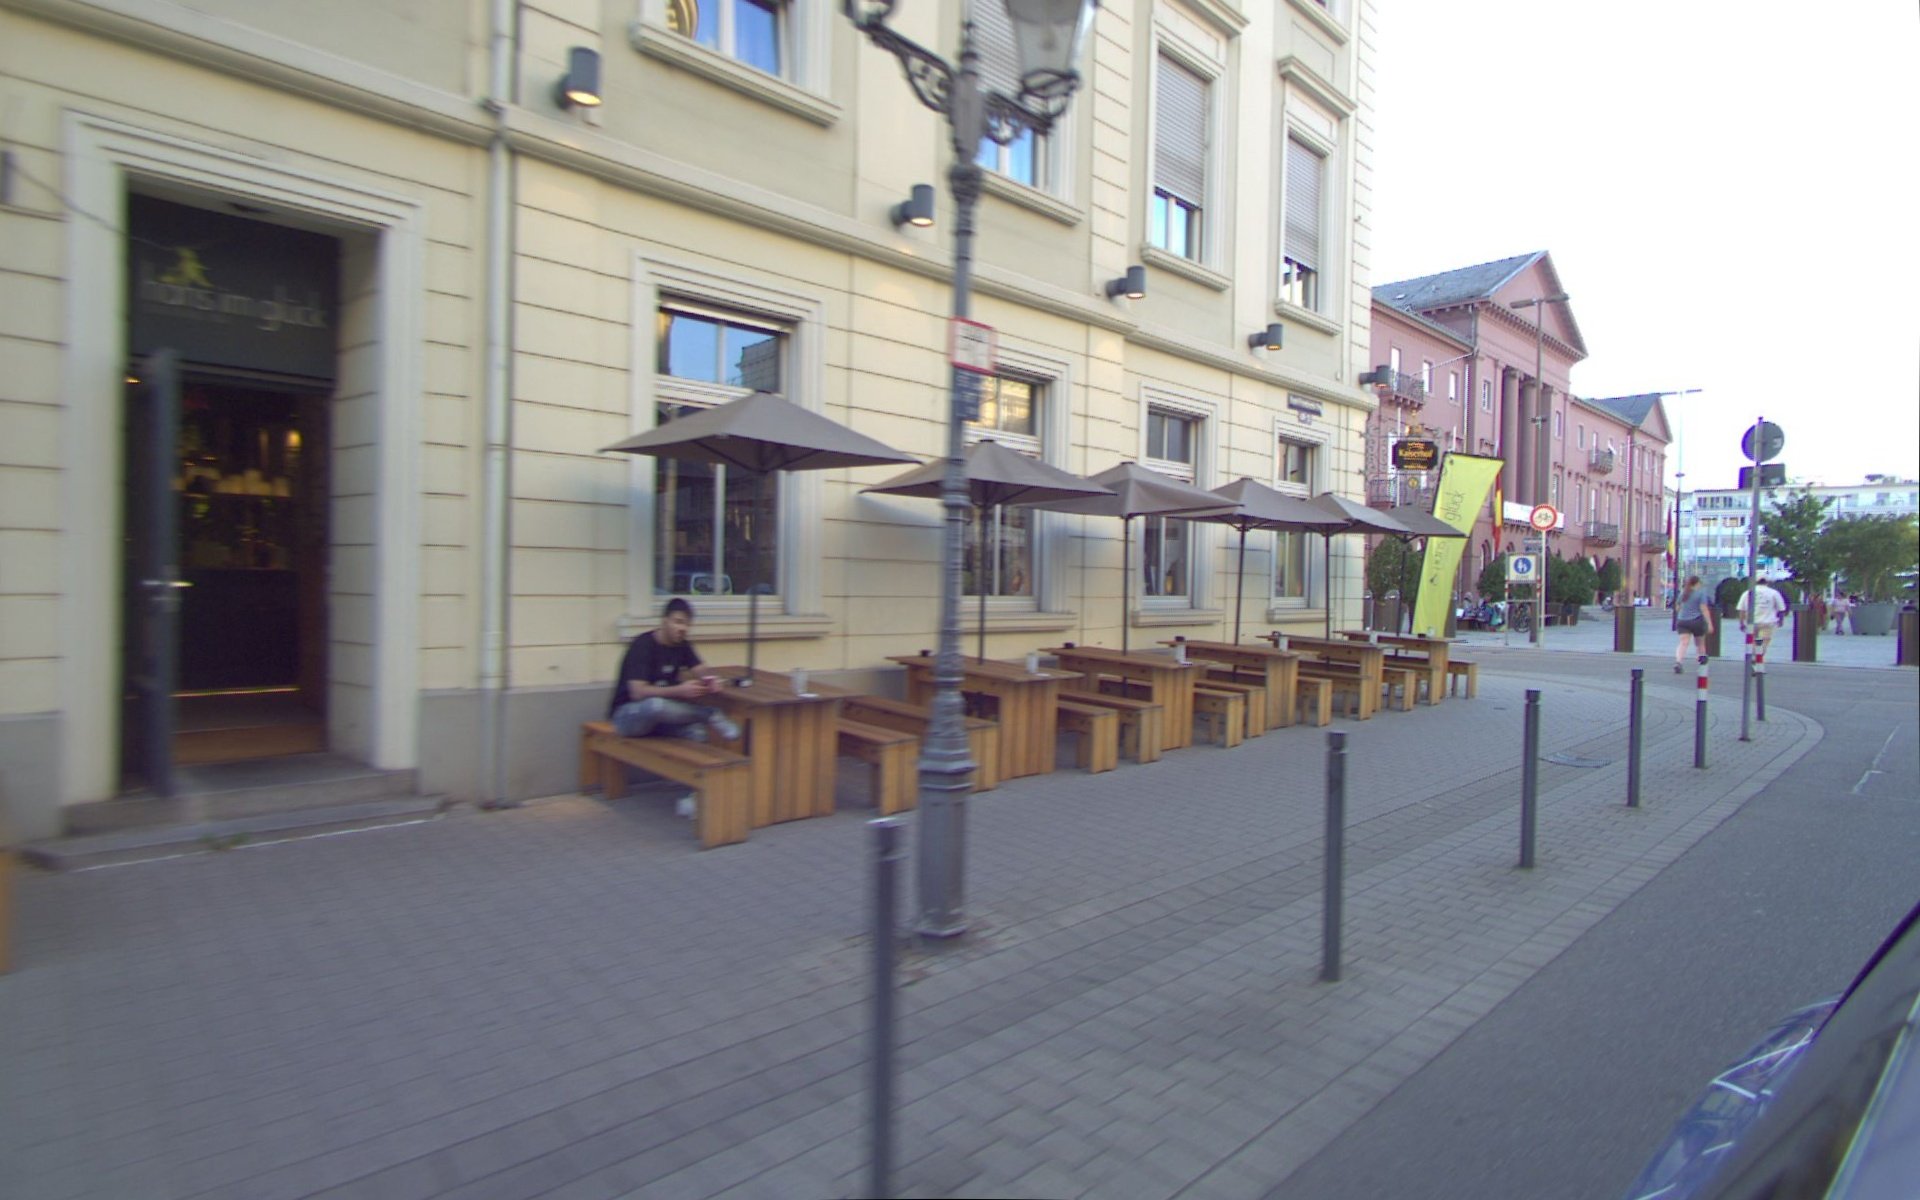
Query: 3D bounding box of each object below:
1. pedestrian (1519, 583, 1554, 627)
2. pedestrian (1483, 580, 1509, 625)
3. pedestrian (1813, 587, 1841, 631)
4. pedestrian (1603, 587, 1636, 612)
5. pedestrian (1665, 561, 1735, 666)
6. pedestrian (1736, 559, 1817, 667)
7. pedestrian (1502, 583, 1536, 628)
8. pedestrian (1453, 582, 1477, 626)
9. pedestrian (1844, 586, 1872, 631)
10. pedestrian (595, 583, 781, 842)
[{"bbox_3d":[19.653,0.148,34.506,0.572,1.465,0.832,1,1,-13],"label":"pedestrian"},{"bbox_3d":[18.043,0.082,34.074,0.576,1.465,0.826,1,1,18],"label":"pedestrian"},{"bbox_3d":[31.441,0.316,36.694,0.682,1.586,0.642,2,1,45],"label":"pedestrian"},{"bbox_3d":[34.219,-0.038,52.553,1.395,1.277,1.311,2,2,34],"label":"pedestrian"},{"bbox_3d":[12.725,0.220,17.413,0.704,1.751,0.609,1,1,0],"label":"pedestrian"},{"bbox_3d":[13.624,0.207,16.900,0.751,1.751,0.669,1,1,0],"label":"pedestrian"},{"bbox_3d":[18.893,0.180,34.207,0.572,1.465,0.832,1,1,-11],"label":"pedestrian"},{"bbox_3d":[17.072,0.119,34.242,0.576,1.465,0.826,1,1,18],"label":"pedestrian"},{"bbox_3d":[32.033,0.289,36.091,0.682,1.578,0.642,2,1,45],"label":"pedestrian"},{"bbox_3d":[-1.587,0.595,5.934,0.770,1.376,0.716,2,1,30],"label":"pedestrian"}]
